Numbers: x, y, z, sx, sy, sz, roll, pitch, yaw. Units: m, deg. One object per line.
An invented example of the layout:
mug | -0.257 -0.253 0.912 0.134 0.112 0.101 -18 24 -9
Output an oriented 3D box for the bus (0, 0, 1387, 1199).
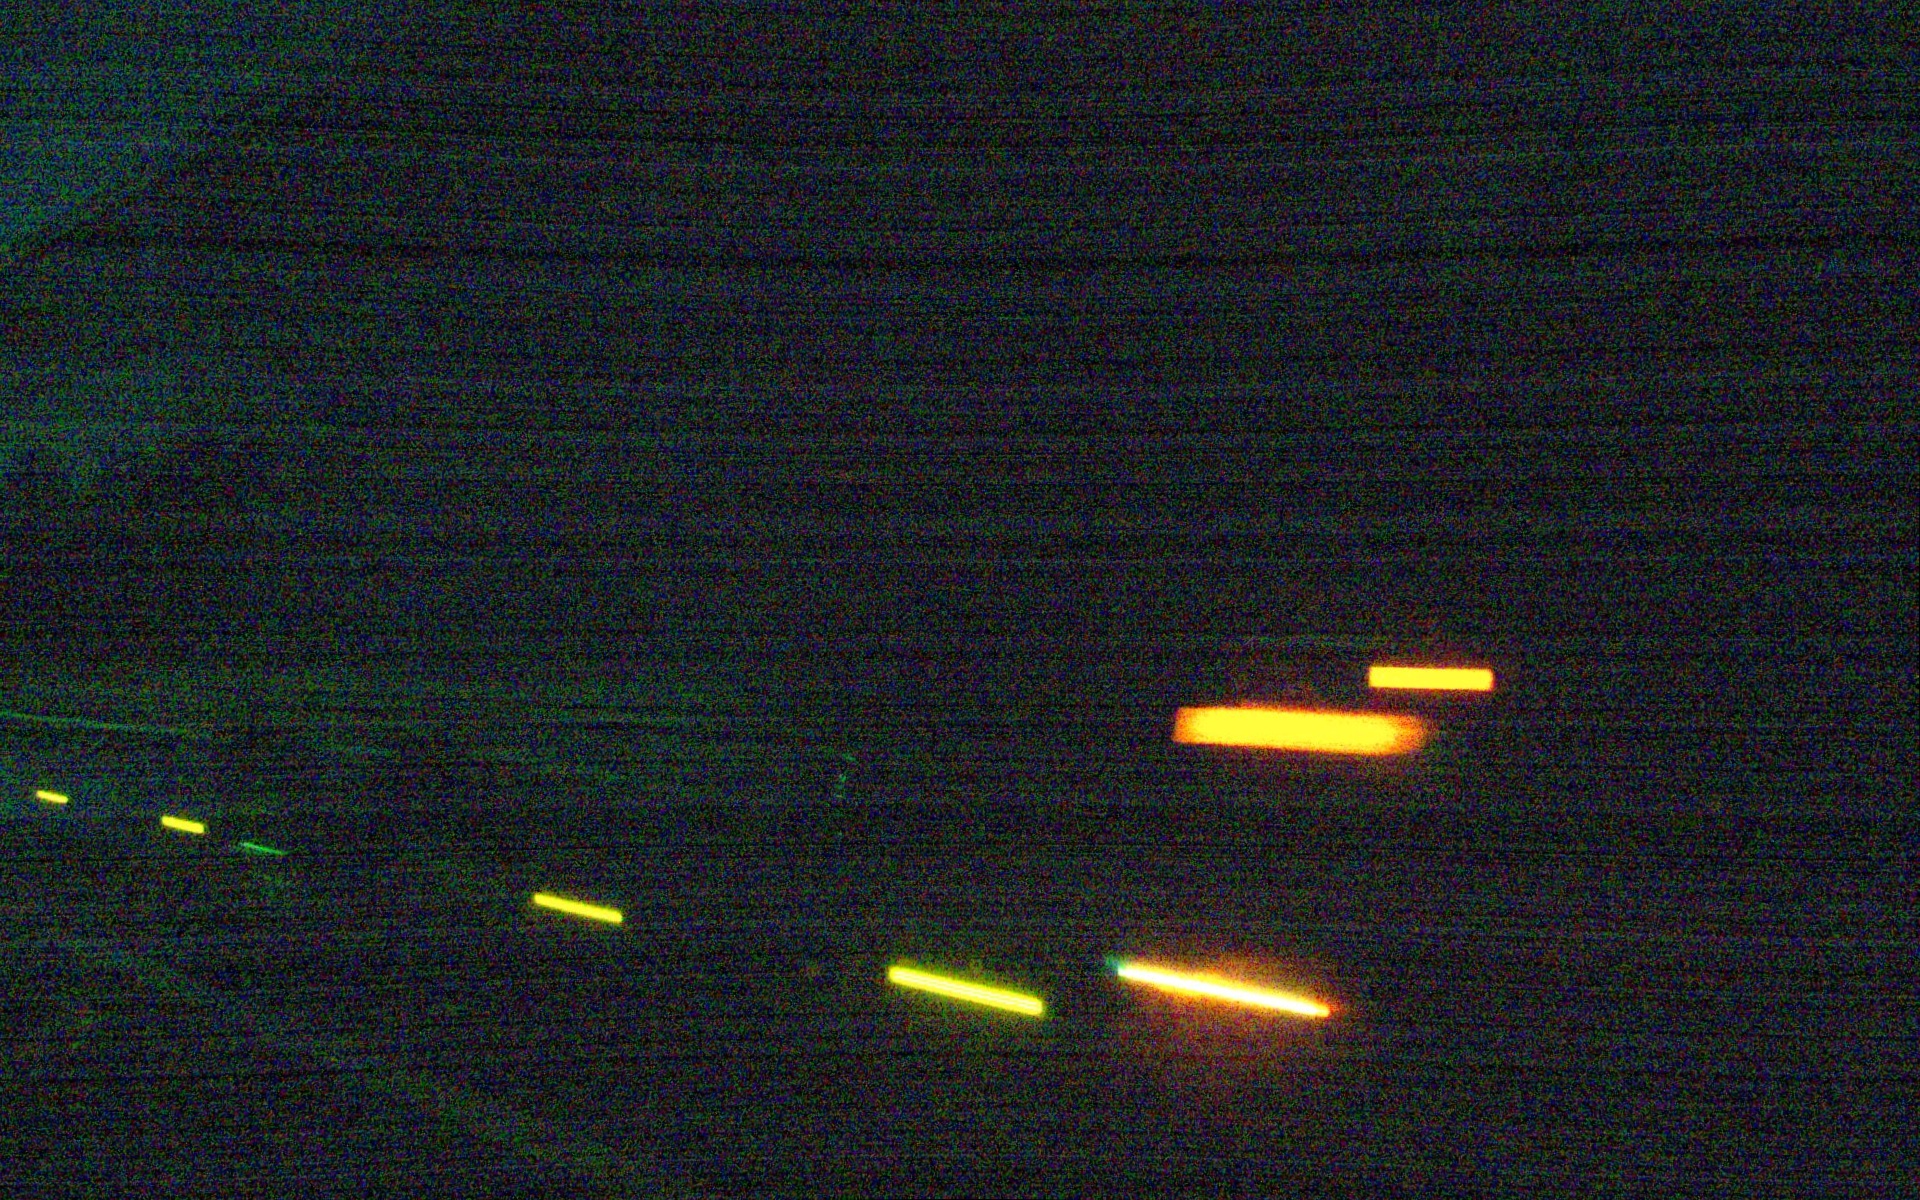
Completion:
bus | -5.006 -0.430 6.997 14.490 4.044 2.648 -1 -2 32
